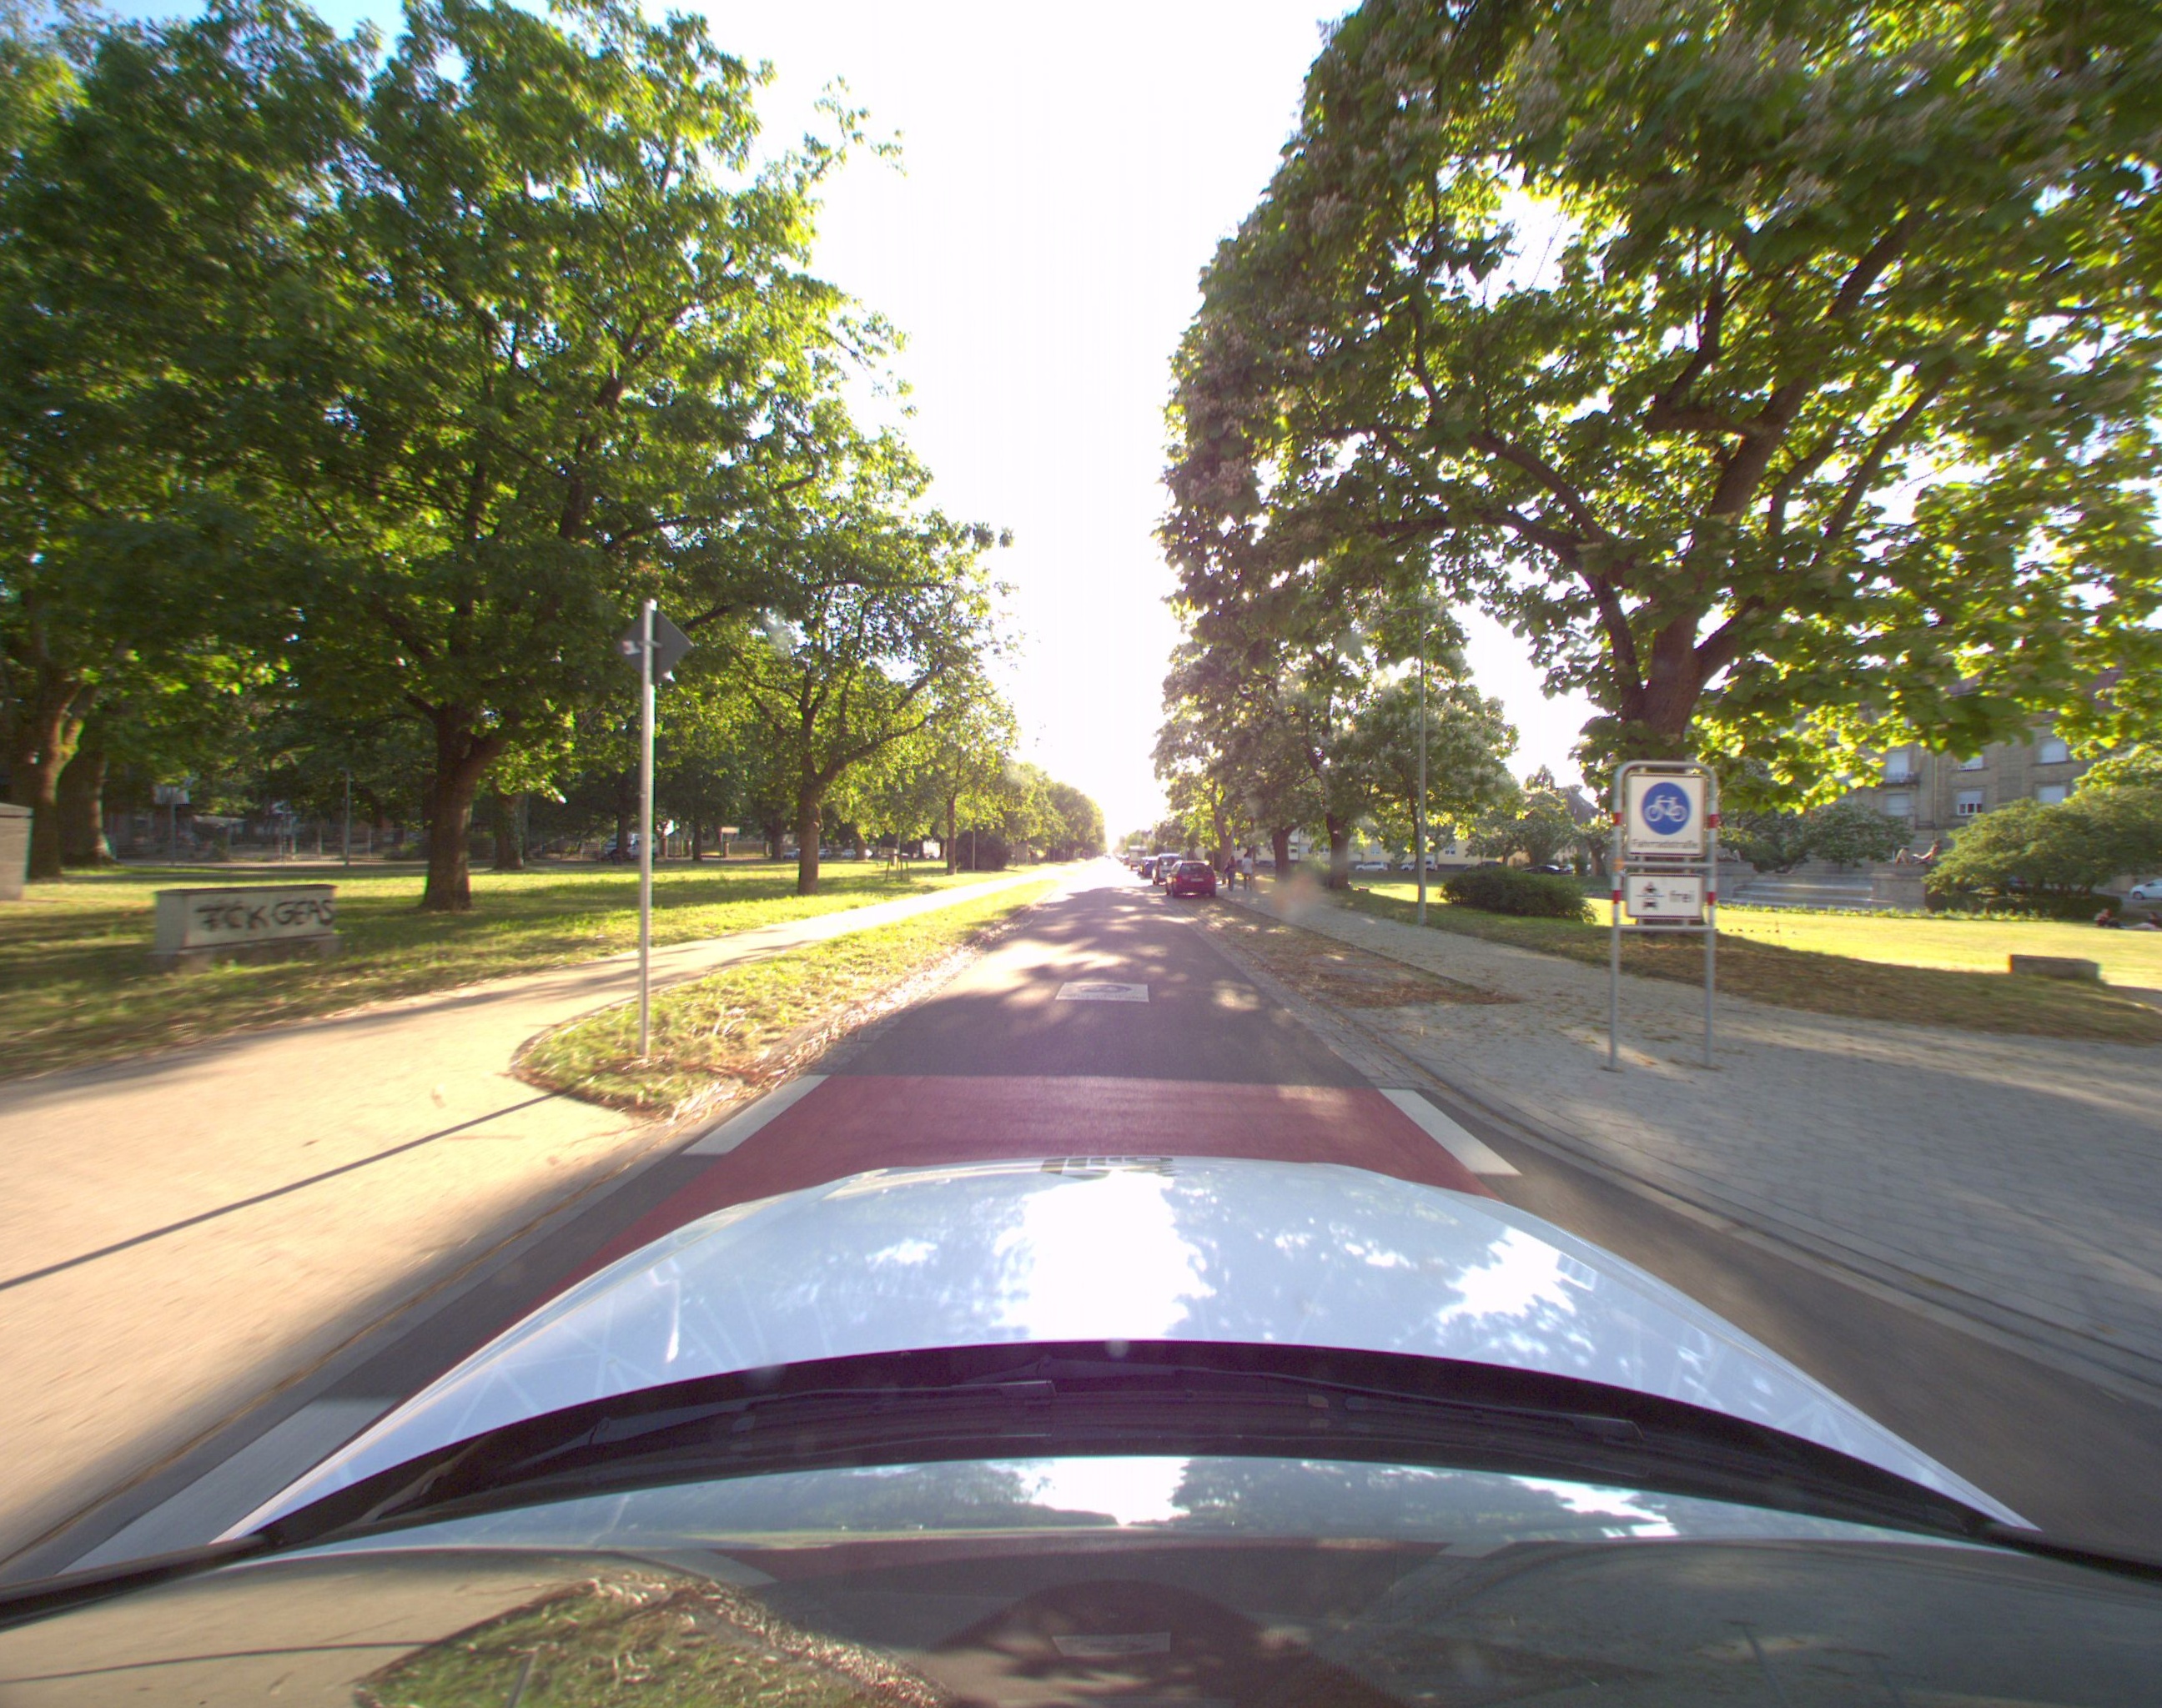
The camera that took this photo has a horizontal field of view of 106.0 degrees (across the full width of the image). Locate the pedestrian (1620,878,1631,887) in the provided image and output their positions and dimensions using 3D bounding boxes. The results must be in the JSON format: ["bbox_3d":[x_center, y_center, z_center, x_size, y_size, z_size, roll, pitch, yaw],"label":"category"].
[{"bbox_3d":[52.711,2.771,78.829,0.585,0.794,0.665,1,-1,-9],"label":"pedestrian"}]

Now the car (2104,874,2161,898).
[{"bbox_3d":[67.387,1.993,50.681,1.803,1.417,4.962,1,-1,9],"label":"car"}]

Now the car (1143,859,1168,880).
[{"bbox_3d":[5.732,1.158,62.944,1.724,1.551,4.279,1,-1,3],"label":"car"}]

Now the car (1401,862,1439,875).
[{"bbox_3d":[46.208,1.957,110.926,4.467,1.746,1.892,0,-1,37],"label":"car"}]

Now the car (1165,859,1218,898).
[{"bbox_3d":[4.483,0.972,33.703,1.672,1.486,4.811,1,-1,2],"label":"car"}]

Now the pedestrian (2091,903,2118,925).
[{"bbox_3d":[43.947,2.573,34.976,0.571,0.881,0.681,1,-1,40],"label":"pedestrian"}]

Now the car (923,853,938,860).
[{"bbox_3d":[-35.724,0.668,193.749,2.497,1.508,4.916,1,-1,3],"label":"car"}]

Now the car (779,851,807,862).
[{"bbox_3d":[-37.861,0.343,107.096,1.985,1.508,4.003,1,-1,3],"label":"car"}]

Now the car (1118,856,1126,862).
[{"bbox_3d":[9.847,1.183,195.706,1.620,1.410,4.251,1,-1,2],"label":"car"}]

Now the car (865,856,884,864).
[{"bbox_3d":[-36.610,1.072,144.520,1.985,1.508,4.118,1,-1,3],"label":"car"}]

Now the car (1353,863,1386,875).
[{"bbox_3d":[38.594,1.962,108.902,3.949,1.552,1.620,0,-1,29],"label":"car"}]

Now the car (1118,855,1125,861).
[{"bbox_3d":[10.247,1.066,206.717,1.620,1.410,4.251,1,-1,2],"label":"car"}]

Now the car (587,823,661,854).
[{"bbox_3d":[-39.475,-1.265,70.594,2.711,2.463,6.319,1,-1,1],"label":"car"}]

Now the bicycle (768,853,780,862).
[{"bbox_3d":[-39.831,0.464,105.717,0.655,1.175,2.333,1,-1,-1],"label":"bicycle"}]

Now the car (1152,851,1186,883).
[{"bbox_3d":[5.085,0.760,47.534,1.672,1.740,4.515,1,-1,2],"label":"car"}]

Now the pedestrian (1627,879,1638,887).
[{"bbox_3d":[52.839,2.785,78.088,0.585,0.794,0.665,1,-1,-9],"label":"pedestrian"}]

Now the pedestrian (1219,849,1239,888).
[{"bbox_3d":[6.670,0.665,36.837,0.750,1.736,0.732,2,0,2],"label":"pedestrian"}]

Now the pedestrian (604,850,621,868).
[{"bbox_3d":[-26.340,0.267,45.755,0.544,0.987,0.612,0,-1,12],"label":"pedestrian"}]

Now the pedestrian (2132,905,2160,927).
[{"bbox_3d":[44.568,2.581,34.083,0.571,0.881,0.681,1,-1,40],"label":"pedestrian"}]

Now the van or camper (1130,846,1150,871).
[{"bbox_3d":[7.218,0.587,100.468,2.226,2.904,5.674,1,-2,2],"label":"van or camper"}]

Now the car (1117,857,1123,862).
[{"bbox_3d":[11.709,1.628,242.696,1.620,1.410,4.251,1,-1,2],"label":"car"}]

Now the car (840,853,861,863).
[{"bbox_3d":[-36.677,0.611,129.638,1.985,1.508,4.118,1,-1,3],"label":"car"}]

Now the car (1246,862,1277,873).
[{"bbox_3d":[25.345,1.849,114.413,4.162,1.463,1.700,0,-1,17],"label":"car"}]

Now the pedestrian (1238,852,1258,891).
[{"bbox_3d":[7.548,0.798,36.836,0.722,1.736,0.732,2,0,2],"label":"pedestrian"}]

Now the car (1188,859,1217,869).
[{"bbox_3d":[18.157,1.474,122.078,4.174,1.530,2.003,1,-1,6],"label":"car"}]

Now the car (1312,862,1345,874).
[{"bbox_3d":[35.697,1.995,117.480,4.473,1.569,1.890,0,-1,20],"label":"car"}]
